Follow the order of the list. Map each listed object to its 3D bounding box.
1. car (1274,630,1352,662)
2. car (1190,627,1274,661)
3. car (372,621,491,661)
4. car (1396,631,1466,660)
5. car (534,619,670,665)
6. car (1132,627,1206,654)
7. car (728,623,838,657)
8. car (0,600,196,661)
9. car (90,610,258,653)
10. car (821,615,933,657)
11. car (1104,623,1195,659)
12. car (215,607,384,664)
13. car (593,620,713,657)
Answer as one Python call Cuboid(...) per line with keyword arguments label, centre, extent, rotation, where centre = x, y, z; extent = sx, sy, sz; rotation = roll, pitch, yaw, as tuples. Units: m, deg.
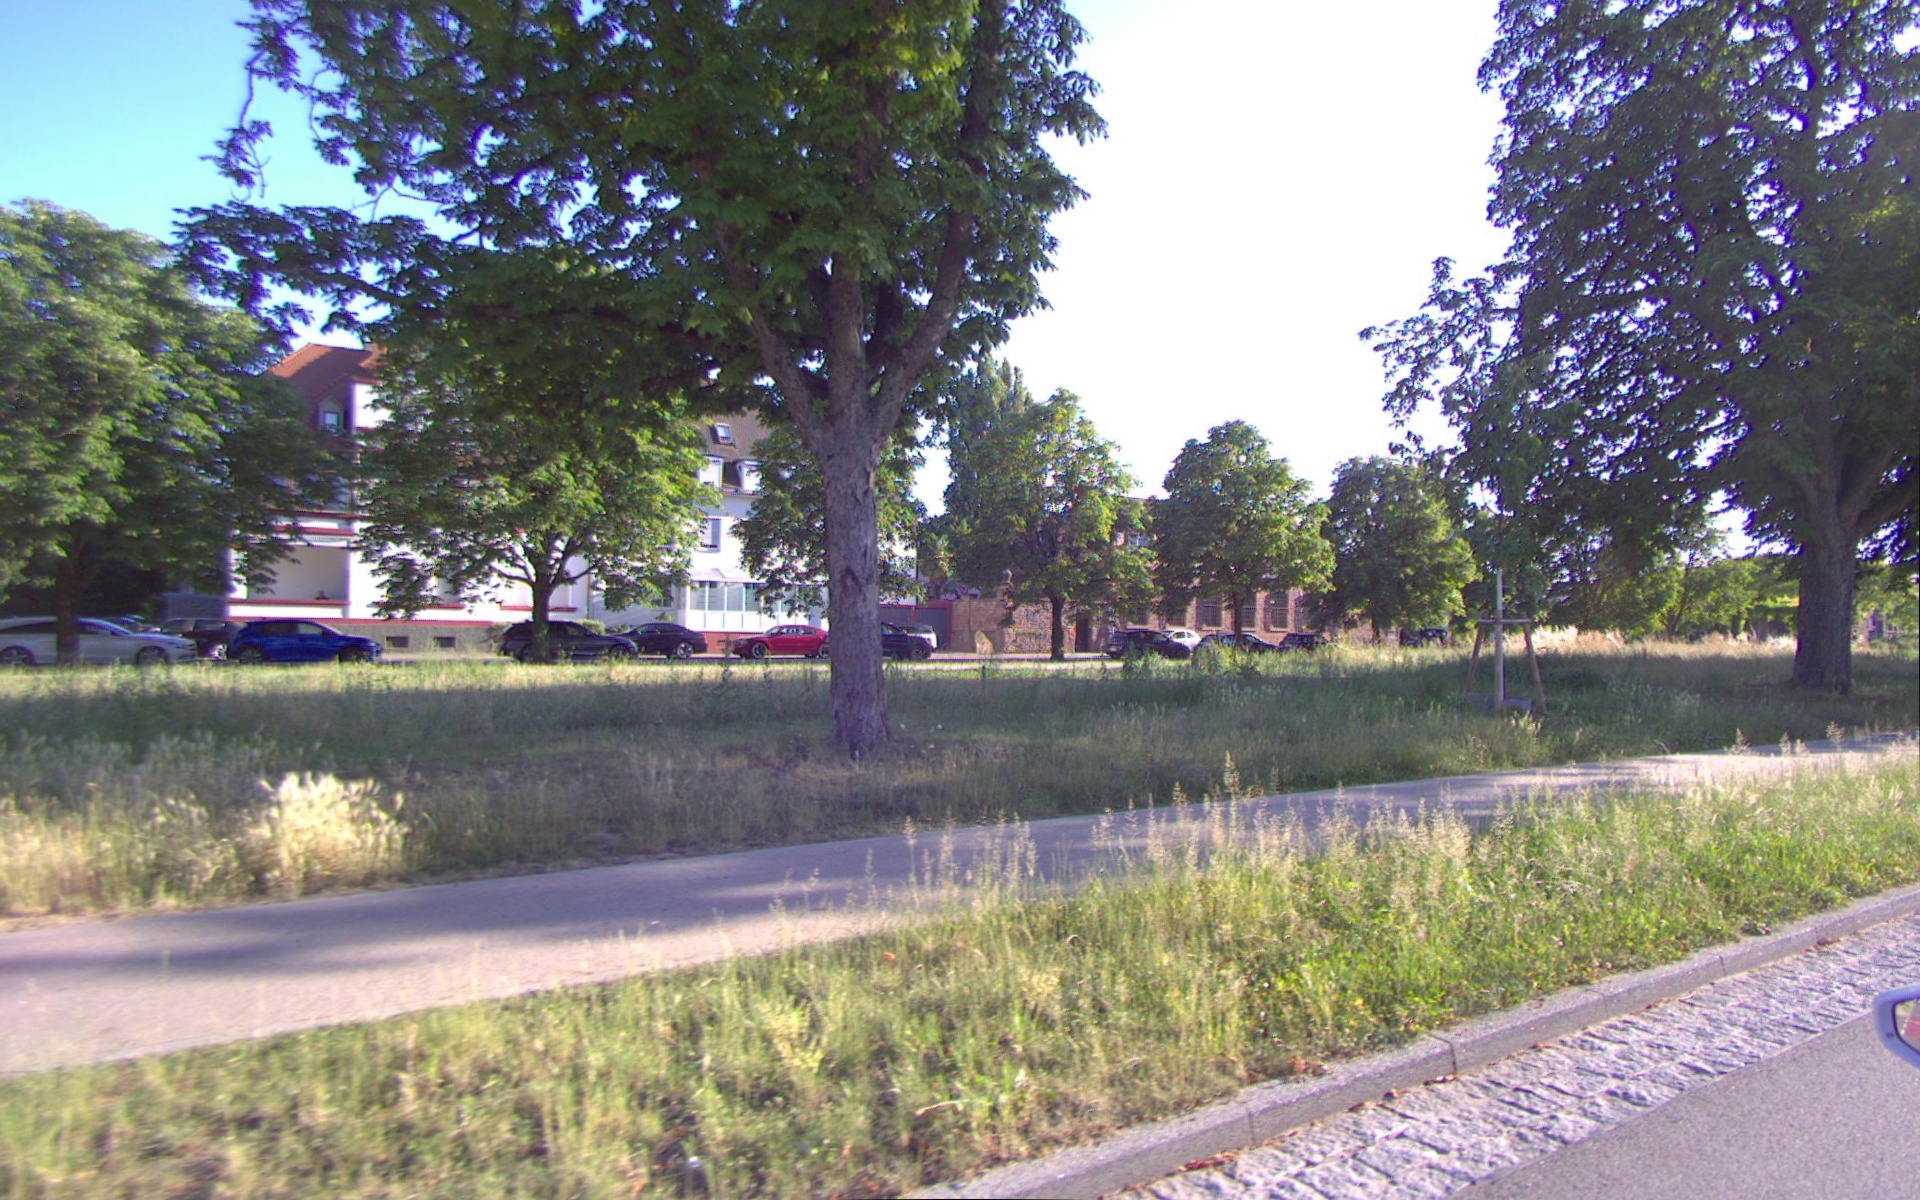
Cuboid(label="car", centre=(18.958, 2.457, 53.880), extent=(4.173, 1.618, 1.684), rotation=(2, -2, -31))
Cuboid(label="car", centre=(13.683, 2.218, 50.411), extent=(4.173, 1.618, 1.684), rotation=(2, -2, -31))
Cuboid(label="car", centre=(-19.615, 1.536, 37.375), extent=(3.806, 1.350, 1.563), rotation=(2, -1, -29))
Cuboid(label="car", centre=(27.493, 2.677, 58.553), extent=(4.173, 1.618, 1.684), rotation=(2, -2, -31))
Cuboid(label="car", centre=(-12.376, 1.442, 34.780), extent=(4.175, 1.496, 1.683), rotation=(2, -2, -32))
Cuboid(label="car", centre=(11.531, 2.240, 55.471), extent=(3.954, 1.424, 1.621), rotation=(2, -2, -31))
Cuboid(label="car", centre=(-7.678, 1.740, 43.590), extent=(4.425, 1.350, 1.563), rotation=(2, -1, -29))
Cuboid(label="car", centre=(-24.392, 0.867, 28.028), extent=(4.706, 1.618, 1.682), rotation=(2, -2, -33))
Cuboid(label="car", centre=(-25.757, 1.042, 33.105), extent=(4.177, 1.332, 1.682), rotation=(2, -2, -33))
Cuboid(label="car", centre=(-3.321, 1.458, 40.425), extent=(4.173, 1.618, 1.684), rotation=(2, -2, -31))
Cuboid(label="car", centre=(8.948, 1.929, 47.357), extent=(4.173, 1.618, 1.684), rotation=(2, -2, -31))
Cuboid(label="car", centre=(-20.067, 1.087, 30.685), extent=(4.177, 1.618, 1.682), rotation=(2, -2, -33))
Cuboid(label="car", centre=(-12.455, 1.567, 40.800), extent=(4.426, 1.350, 1.563), rotation=(2, -1, -29))
